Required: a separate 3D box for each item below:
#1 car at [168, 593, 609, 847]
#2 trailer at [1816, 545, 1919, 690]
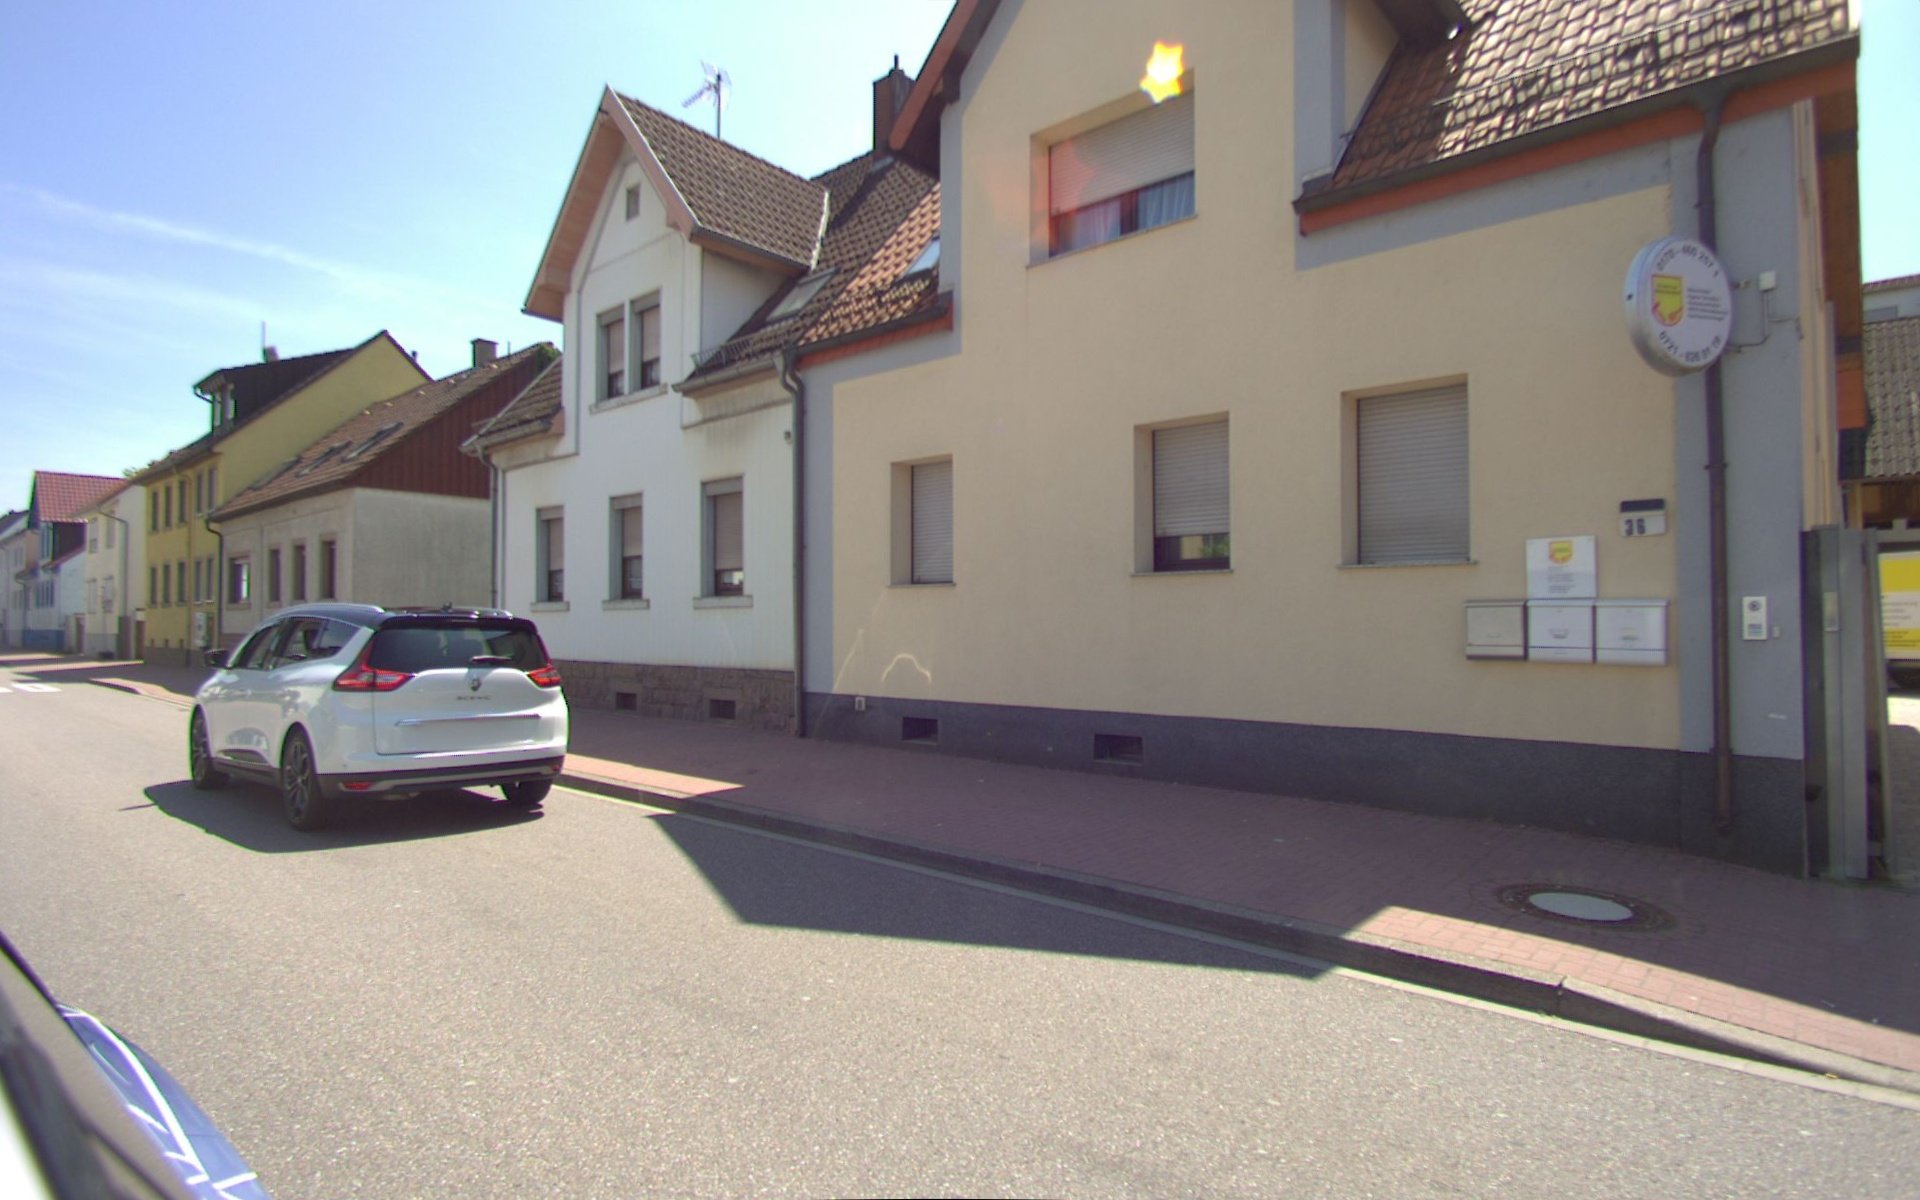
[{"bbox_3d":[-5.030,0.843,8.634,4.429,1.615,1.854,-1,-4,41],"label":"car"},{"bbox_3d":[15.112,0.247,14.551,1.708,2.121,3.930,0,-2,-17],"label":"trailer"}]
